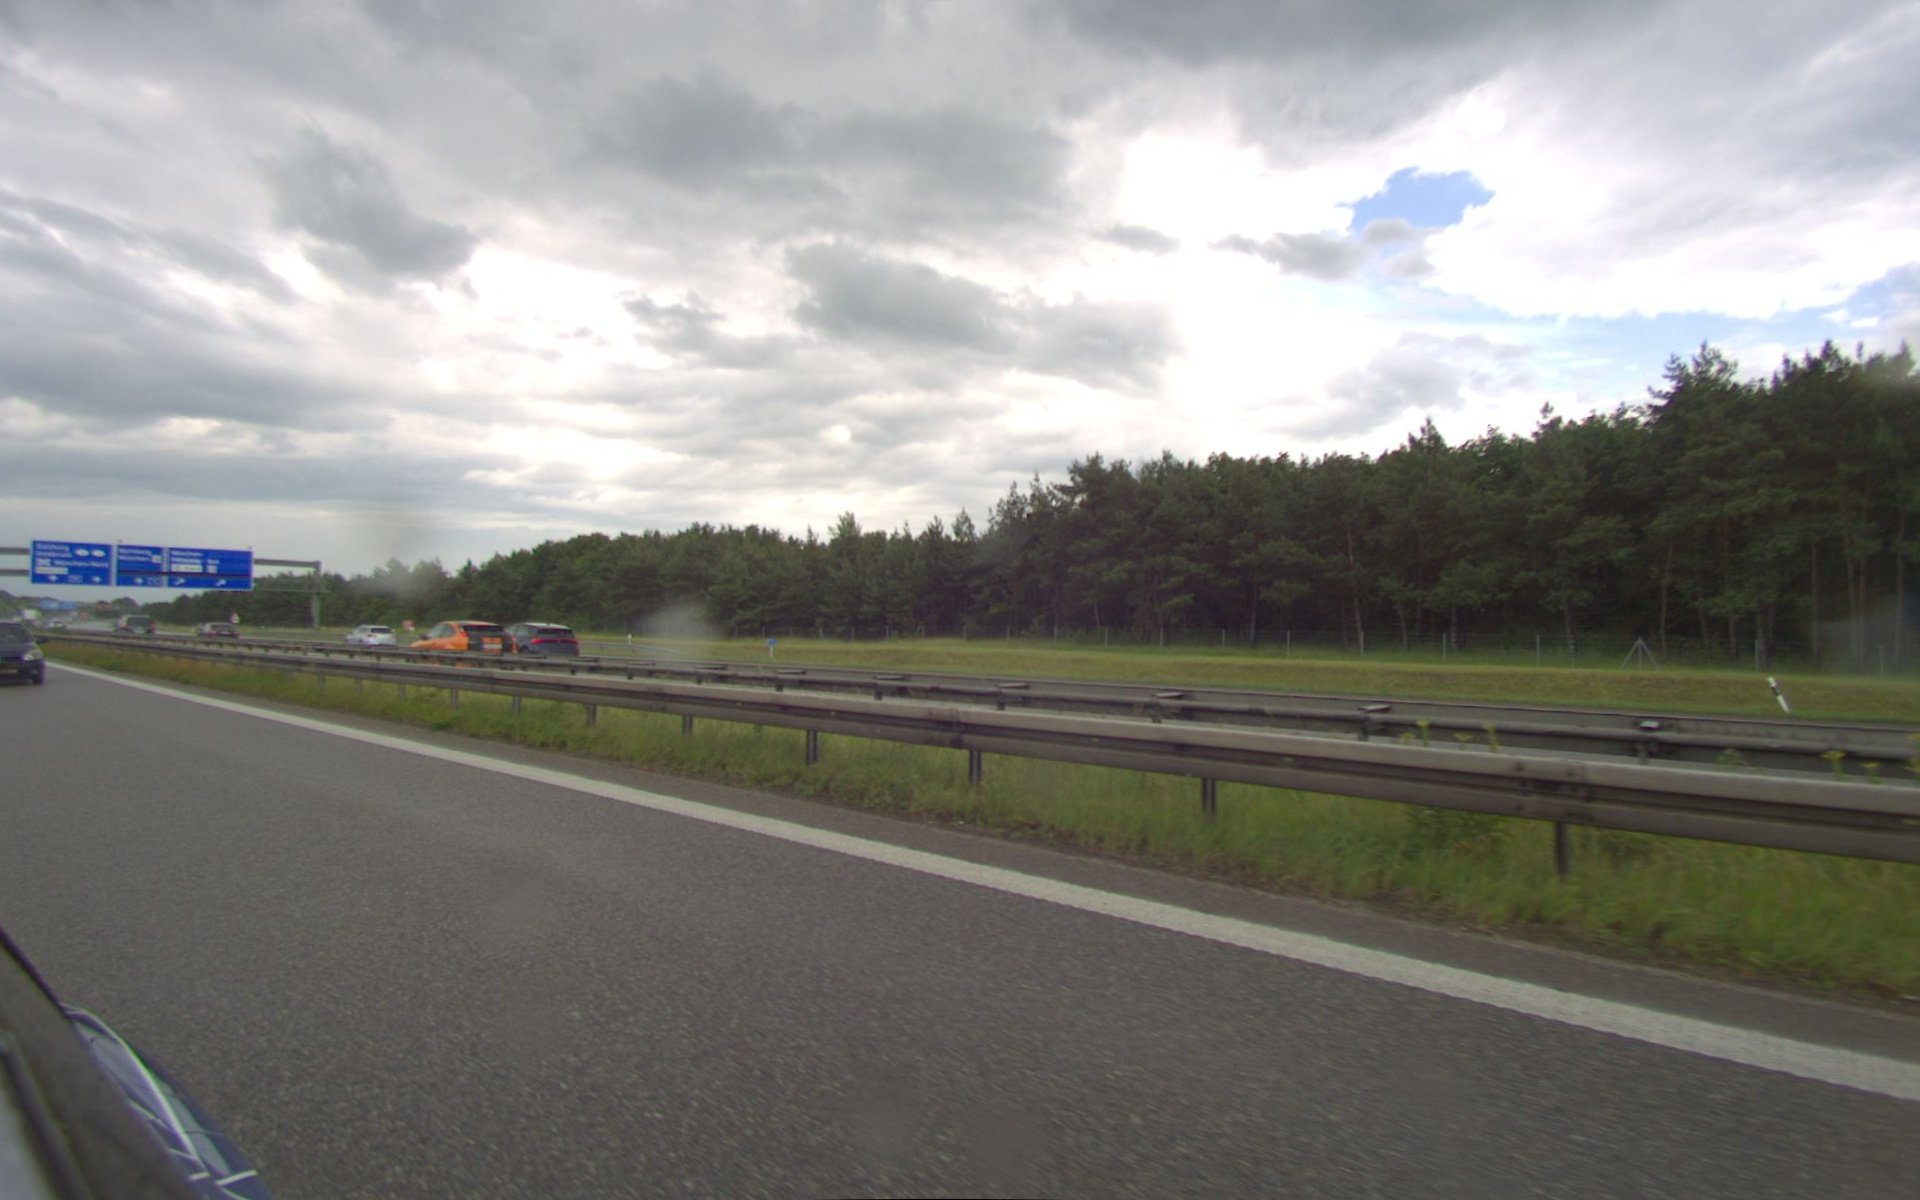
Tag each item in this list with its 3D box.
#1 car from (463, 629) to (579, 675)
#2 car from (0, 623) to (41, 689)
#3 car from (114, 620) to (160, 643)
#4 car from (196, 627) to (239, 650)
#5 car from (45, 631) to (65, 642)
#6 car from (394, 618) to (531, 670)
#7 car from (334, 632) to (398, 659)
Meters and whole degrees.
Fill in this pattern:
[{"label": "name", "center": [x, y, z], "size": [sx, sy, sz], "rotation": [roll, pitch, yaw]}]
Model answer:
[{"label": "car", "center": [-15.118, 1.729, 34.756], "size": [4.650, 1.467, 1.896], "rotation": [-1, -2, 42]}, {"label": "car", "center": [-21.708, 1.204, 22.317], "size": [4.431, 1.339, 1.786], "rotation": [-1, 0, 43]}, {"label": "car", "center": [-55.806, 2.099, 68.593], "size": [4.117, 1.483, 1.971], "rotation": [-1, 0, 44]}, {"label": "car", "center": [-49.718, 2.579, 67.763], "size": [4.402, 1.483, 1.619], "rotation": [-1, -2, 44]}, {"label": "car", "center": [-131.610, 5.328, 147.169], "size": [3.999, 1.586, 1.701], "rotation": [-2, -3, 42]}, {"label": "car", "center": [-14.271, 1.223, 28.905], "size": [4.650, 1.375, 1.896], "rotation": [-1, -2, 42]}, {"label": "car", "center": [-33.985, 2.572, 57.857], "size": [4.818, 1.483, 1.771], "rotation": [-1, -3, 42]}]
